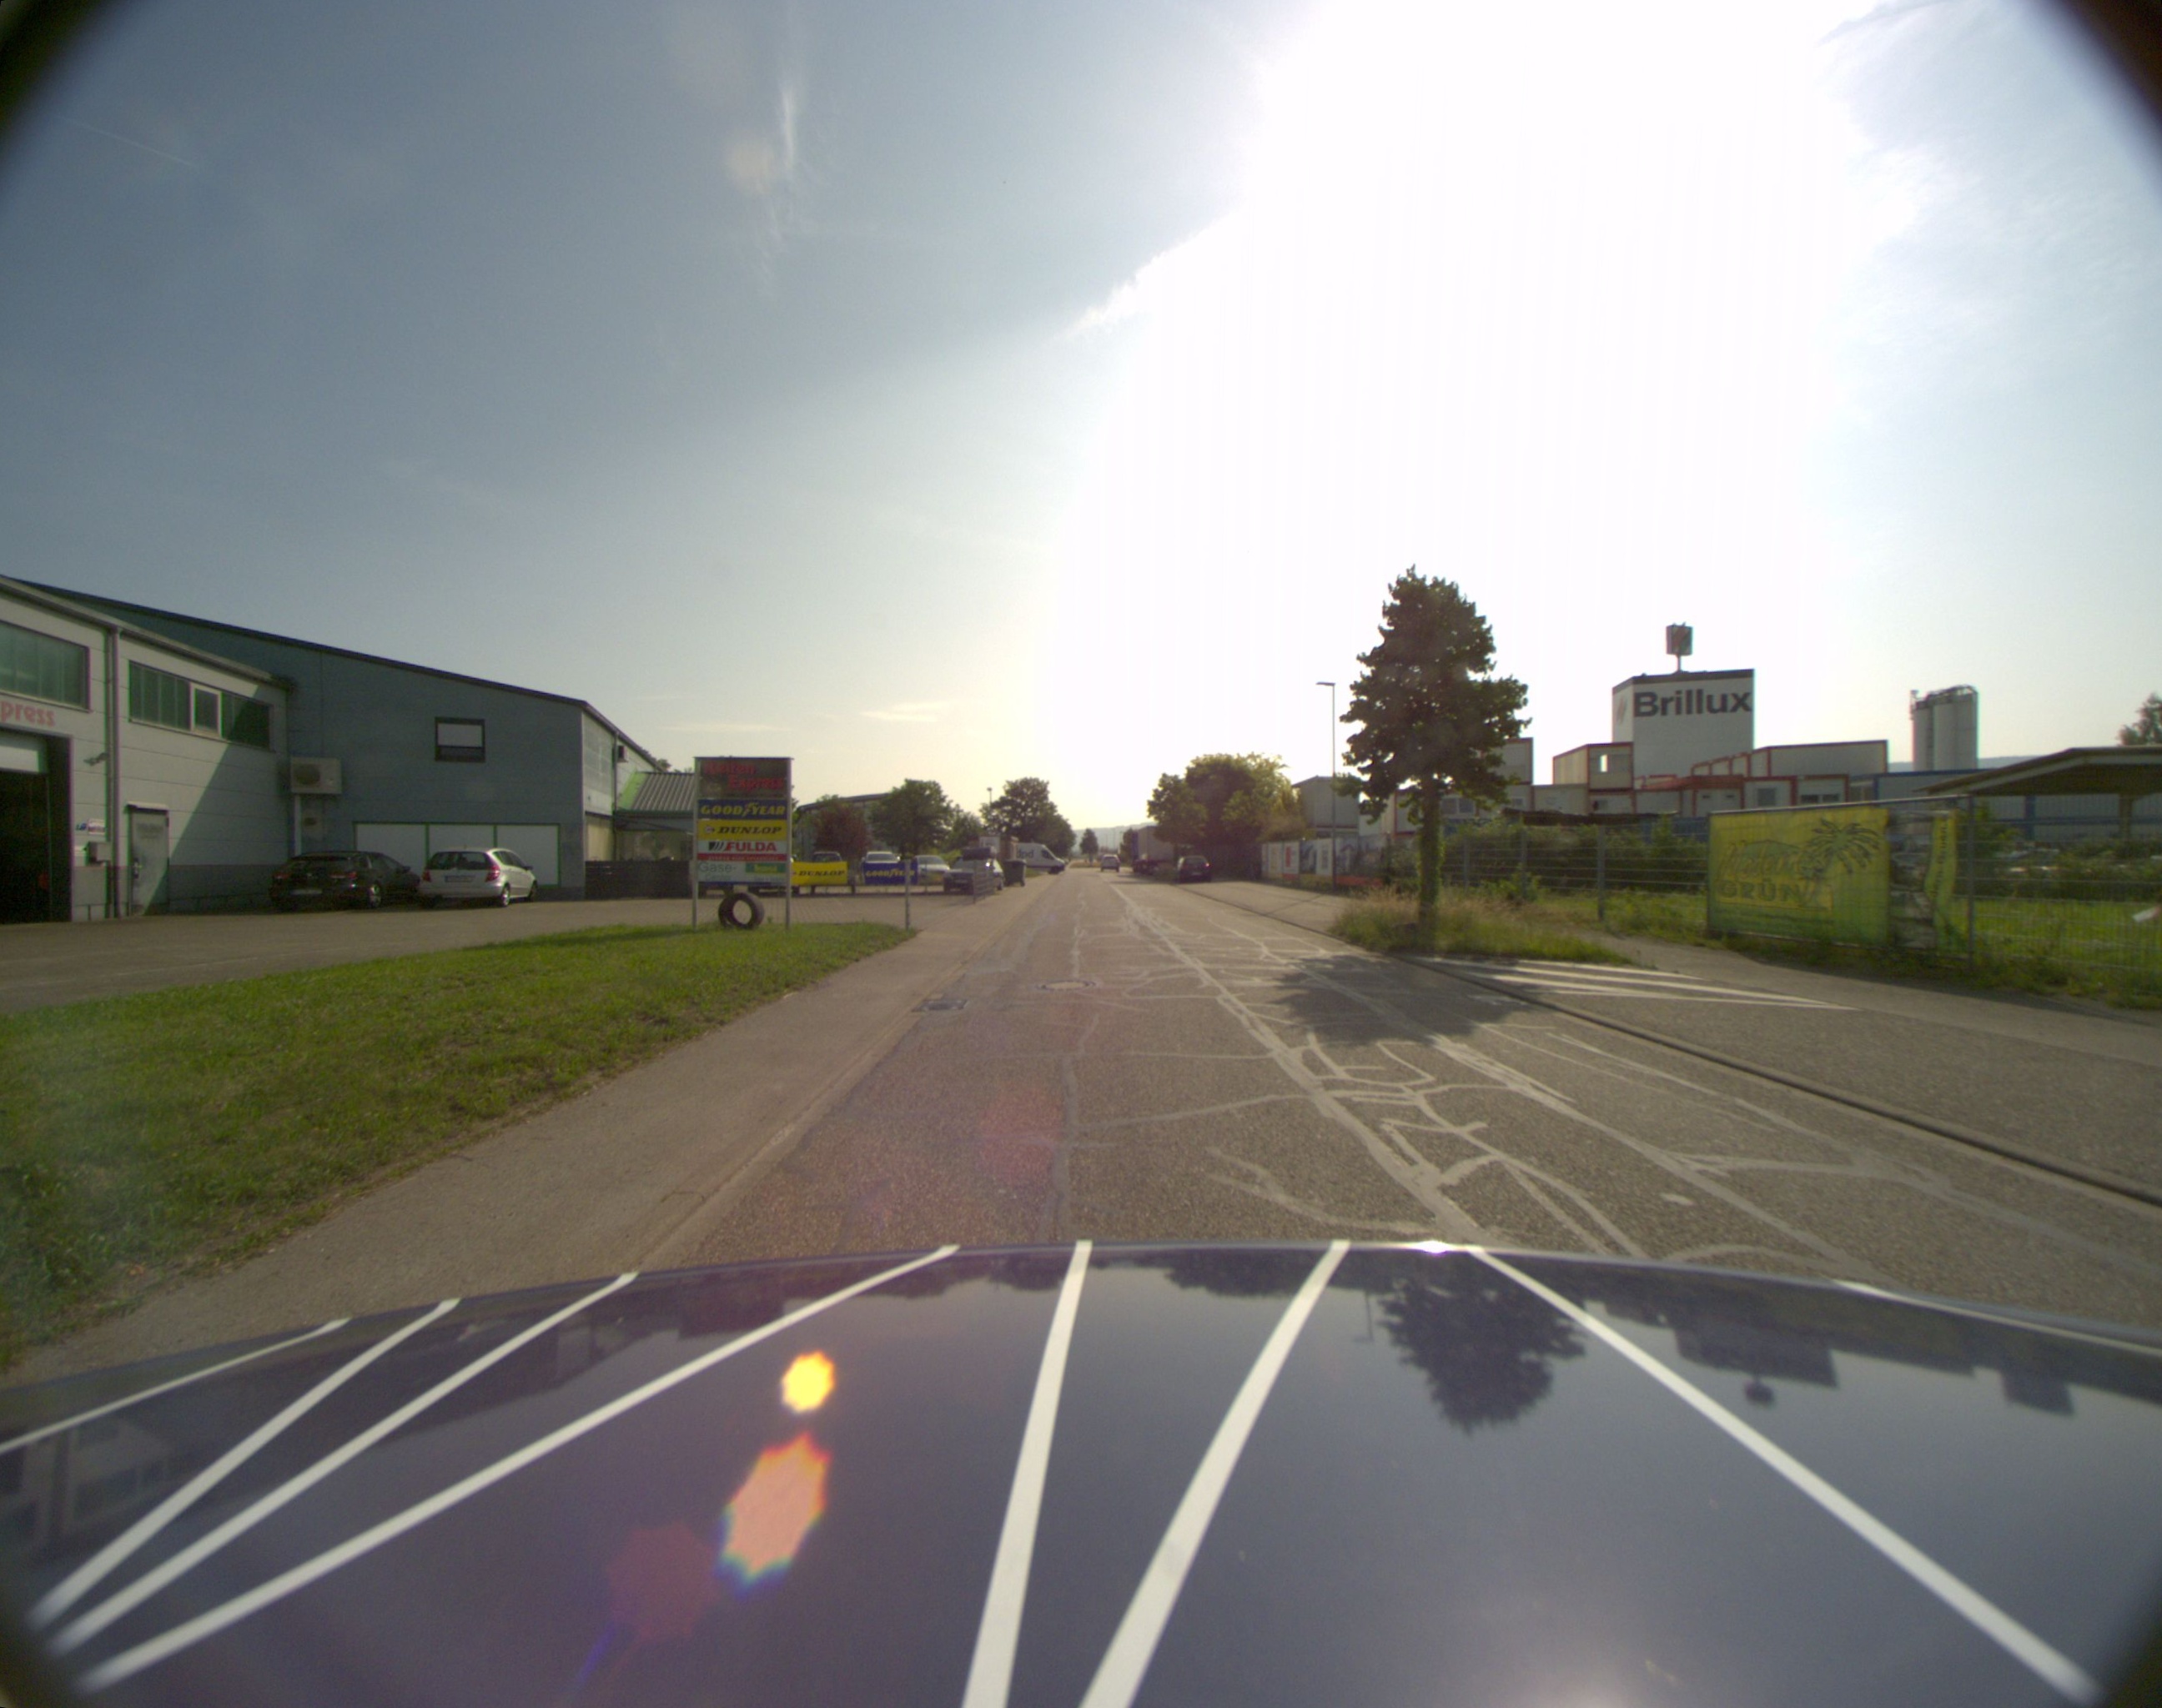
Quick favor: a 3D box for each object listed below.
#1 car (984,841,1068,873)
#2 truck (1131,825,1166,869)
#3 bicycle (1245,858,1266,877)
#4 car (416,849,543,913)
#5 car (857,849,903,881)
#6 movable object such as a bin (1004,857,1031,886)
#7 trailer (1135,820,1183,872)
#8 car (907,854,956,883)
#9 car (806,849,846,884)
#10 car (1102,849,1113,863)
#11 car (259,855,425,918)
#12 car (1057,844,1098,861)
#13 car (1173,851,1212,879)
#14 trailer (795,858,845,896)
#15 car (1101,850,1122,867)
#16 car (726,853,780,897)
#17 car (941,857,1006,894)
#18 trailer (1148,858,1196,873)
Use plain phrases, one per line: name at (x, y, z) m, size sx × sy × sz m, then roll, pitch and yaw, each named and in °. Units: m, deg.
car at (-4.719, 0.246, 65.006) m, size 6.748 × 2.524 × 2.278 m, roll -2°, pitch 1°, yaw -13°
truck at (6.304, -0.662, 72.463) m, size 2.719 × 3.862 × 9.636 m, roll -2°, pitch 0°, yaw 2°
bicycle at (9.632, 0.731, 42.077) m, size 0.563 × 0.967 × 2.452 m, roll 0°, pitch 1°, yaw -1°
car at (-16.231, 0.655, 20.712) m, size 1.641 × 1.559 × 3.798 m, roll -1°, pitch 1°, yaw -21°
car at (-10.680, 0.546, 40.159) m, size 1.723 × 1.563 × 4.124 m, roll -1°, pitch 0°, yaw -24°
movable object such as a bin at (-3.173, 0.866, 38.056) m, size 1.083 × 1.345 × 1.506 m, roll 2°, pitch 1°, yaw 3°
trailer at (6.277, -0.637, 62.719) m, size 2.707 × 3.862 × 9.763 m, roll -2°, pitch 0°, yaw -1°
car at (-8.032, 0.742, 40.526) m, size 1.695 × 1.457 × 4.253 m, roll -1°, pitch 0°, yaw -24°
car at (-12.977, 0.605, 38.554) m, size 1.646 × 1.710 × 3.207 m, roll -1°, pitch 1°, yaw -24°
car at (5.043, 0.336, 145.238) m, size 1.998 × 2.532 × 6.989 m, roll 0°, pitch 0°, yaw 0°
car at (-18.570, 0.742, 19.318) m, size 1.683 × 1.394 × 3.704 m, roll -1°, pitch 1°, yaw -21°
car at (-0.839, -0.398, 156.374) m, size 8.151 × 3.217 × 2.663 m, roll -2°, pitch 1°, yaw -5°
car at (6.195, 0.592, 42.600) m, size 1.691 × 1.461 × 4.093 m, roll 0°, pitch 0°, yaw 1°
trailer at (-9.639, 0.810, 27.997) m, size 1.496 × 1.241 × 2.971 m, roll -2°, pitch 1°, yaw -23°
car at (2.987, 0.460, 74.934) m, size 1.816 × 1.617 × 4.248 m, roll 0°, pitch 0°, yaw -1°
car at (-11.947, 0.705, 27.665) m, size 1.646 × 1.457 × 4.452 m, roll -1°, pitch 0°, yaw -24°
car at (-4.274, 0.832, 30.900) m, size 1.677 × 1.361 × 4.395 m, roll 0°, pitch 0°, yaw 5°
trailer at (6.451, 0.794, 54.722) m, size 2.656 × 0.979 × 6.242 m, roll 0°, pitch 0°, yaw -1°
